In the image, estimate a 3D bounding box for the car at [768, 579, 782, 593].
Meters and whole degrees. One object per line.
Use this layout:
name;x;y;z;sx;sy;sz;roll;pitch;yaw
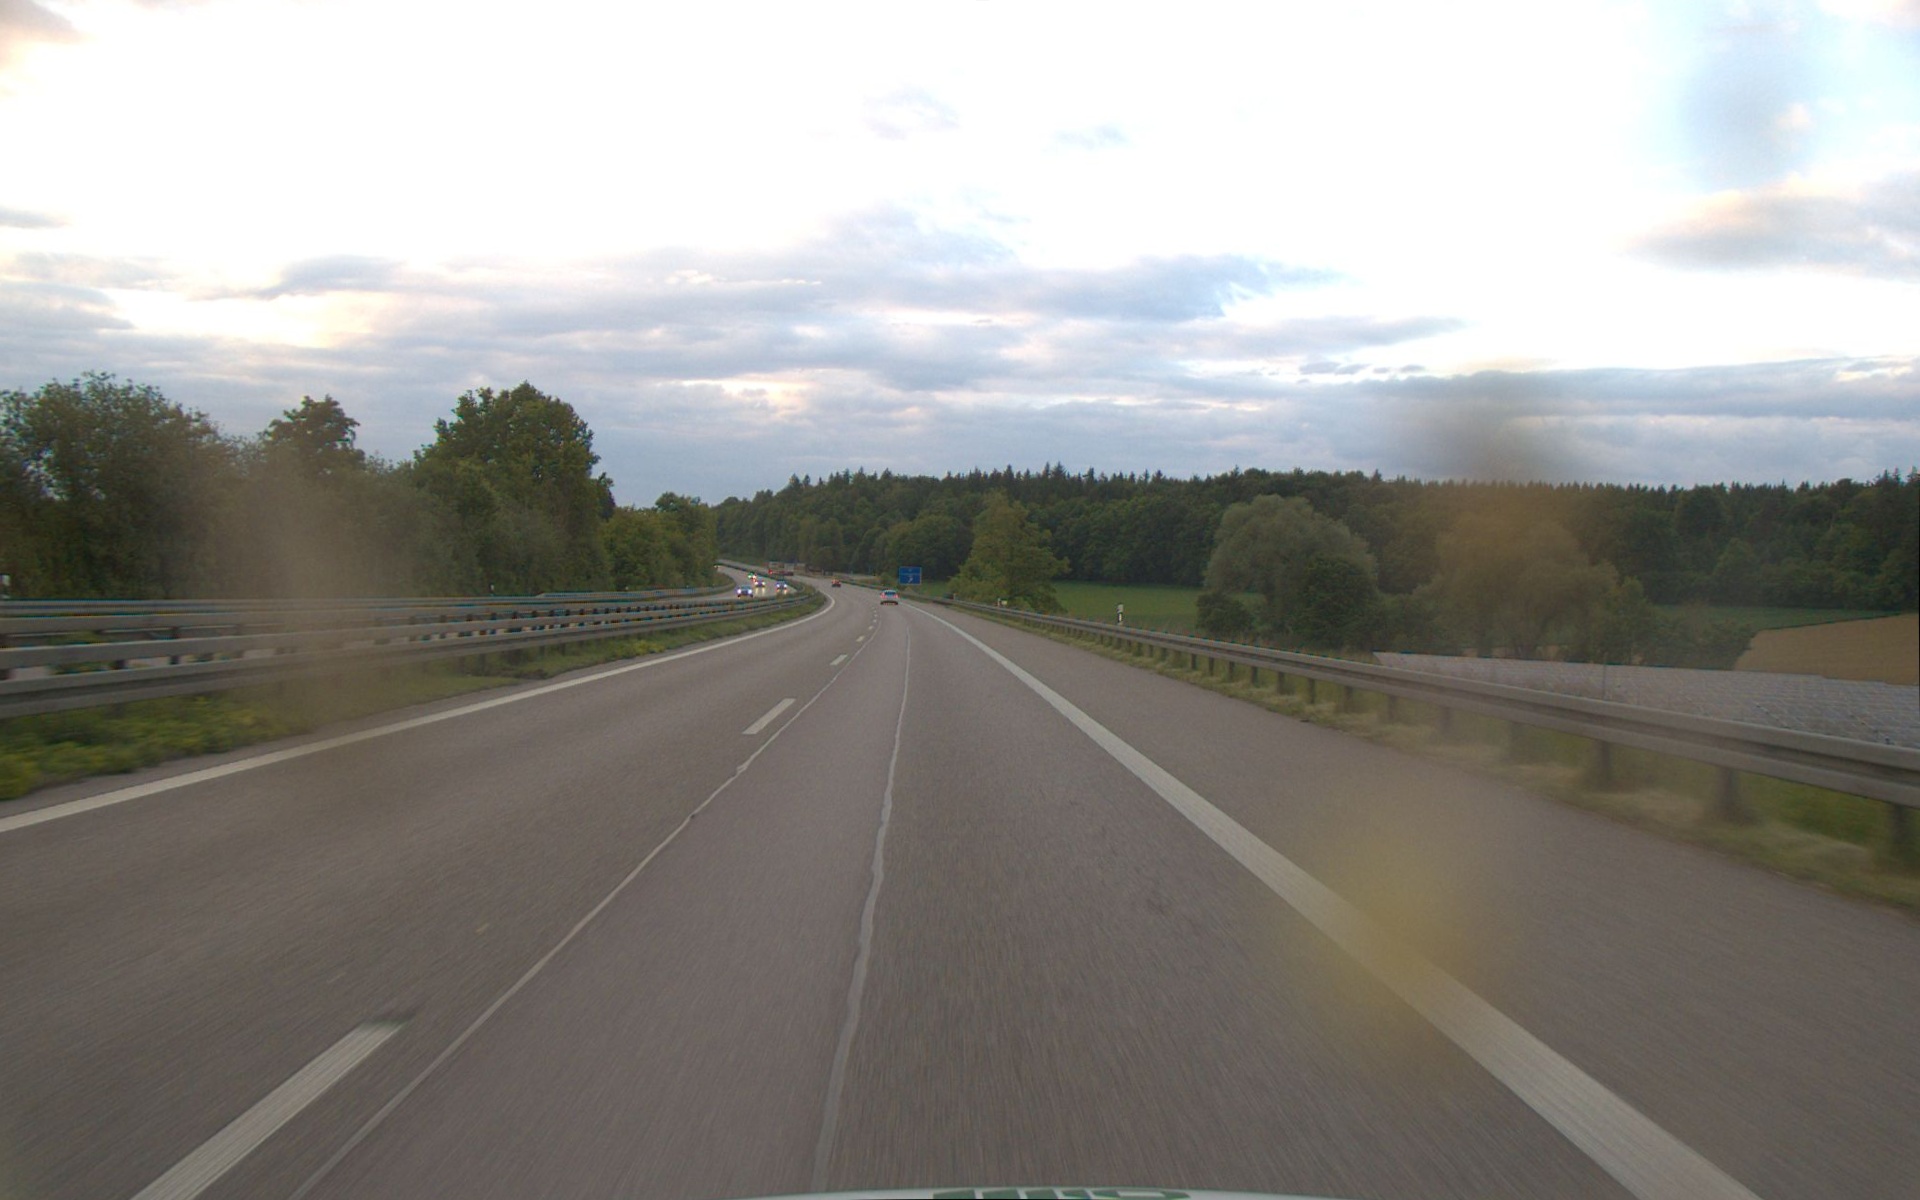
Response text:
car;-14.595;-1.097;130.393;0.869;0.986;1.764;3;1;0

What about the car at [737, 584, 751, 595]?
car;-26.626;-1.292;203.687;1.356;1.296;2.748;3;1;-2

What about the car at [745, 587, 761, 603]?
car;-13.044;-0.299;104.276;0.824;0.956;1.763;3;1;-2

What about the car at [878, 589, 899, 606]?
car;-7.376;-0.240;170.901;1.912;1.558;4.079;4;1;-2

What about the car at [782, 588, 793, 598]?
car;-15.761;-0.660;151.147;0.870;0.894;1.763;3;1;-2
